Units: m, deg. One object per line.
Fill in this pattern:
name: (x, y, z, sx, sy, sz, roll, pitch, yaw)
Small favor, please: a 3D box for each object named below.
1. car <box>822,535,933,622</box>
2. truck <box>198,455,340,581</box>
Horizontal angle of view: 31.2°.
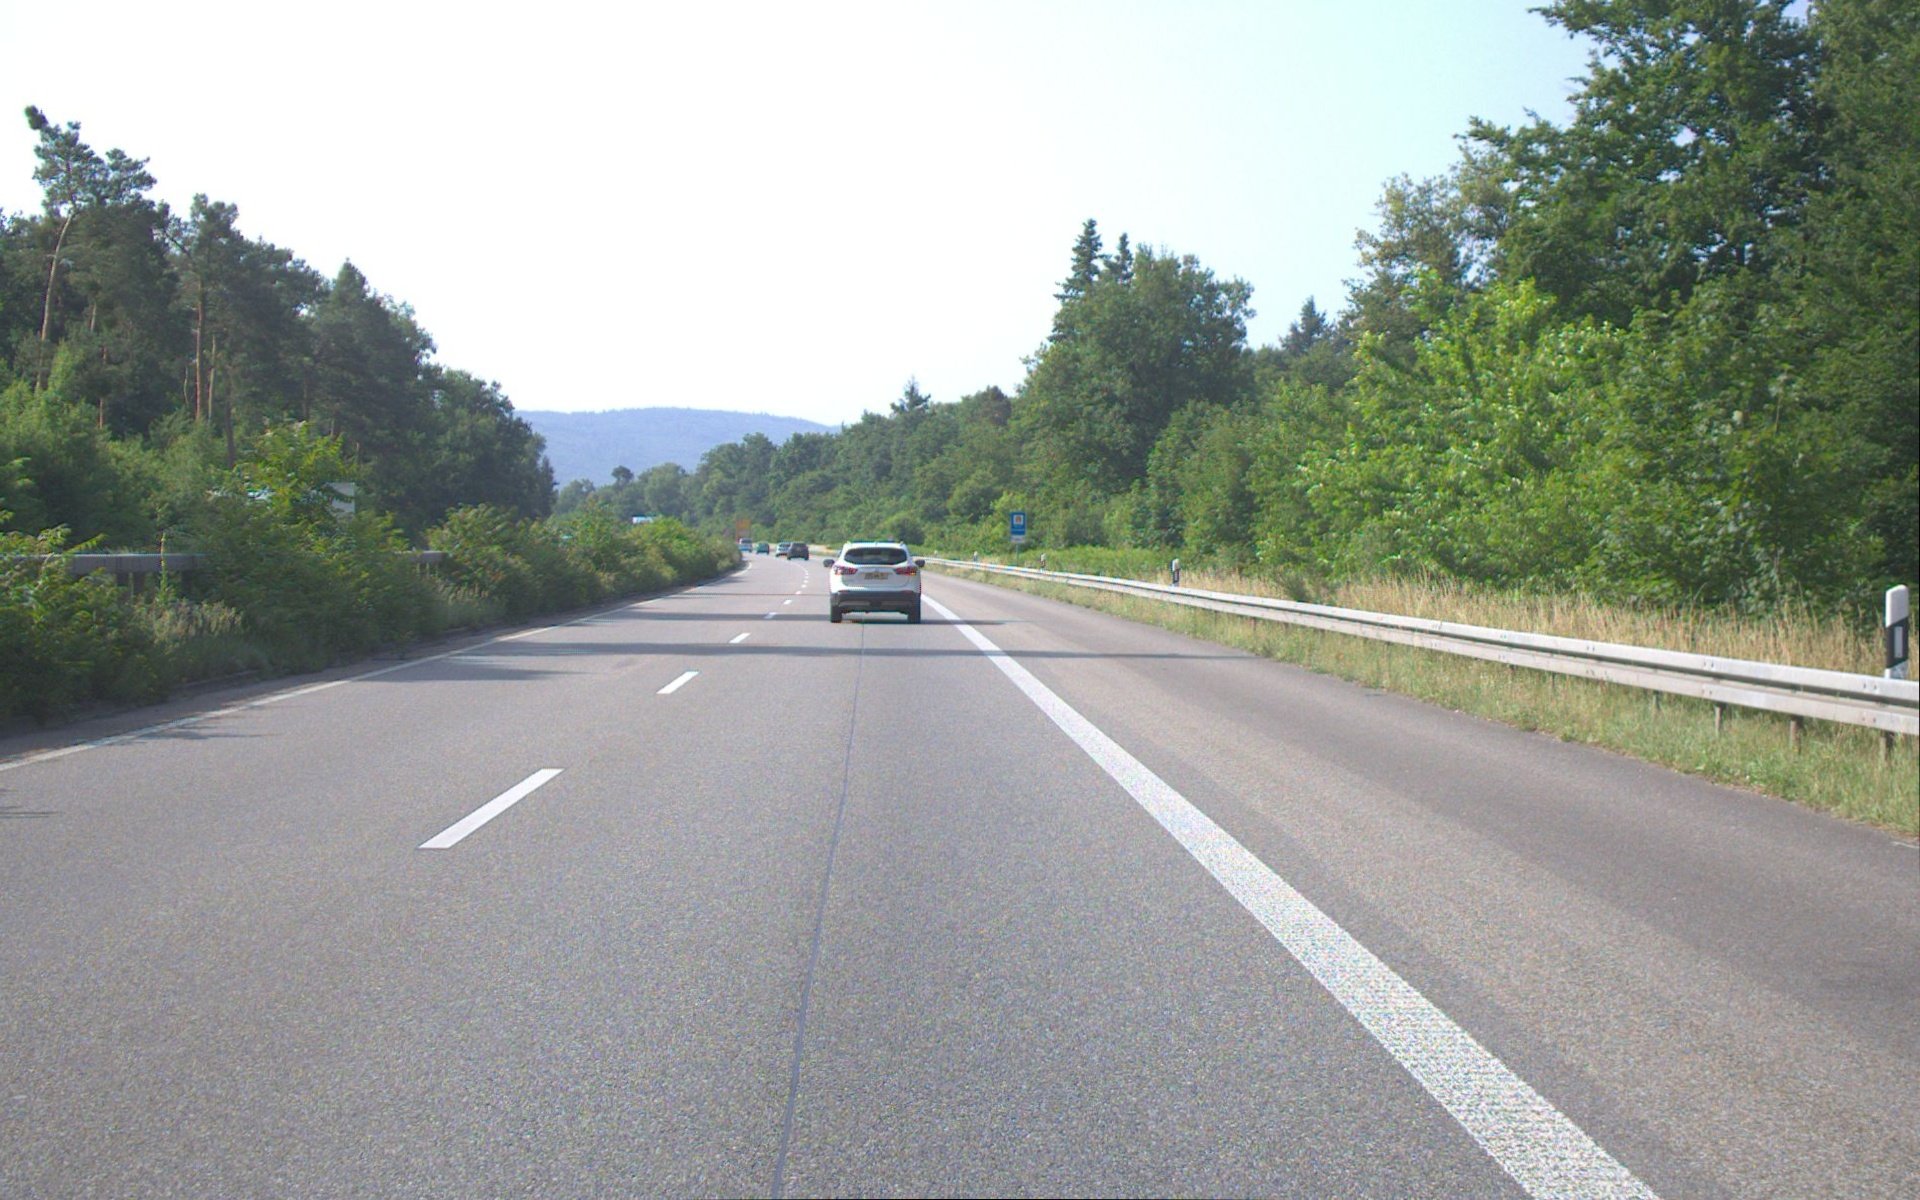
car: (-1.676, -0.456, 68.516, 1.873, 1.581, 4.001, 2, 1, -6)
truck: (-18.231, -2.141, 91.073, 2.462, 3.165, 7.228, -1, 1, -2)
